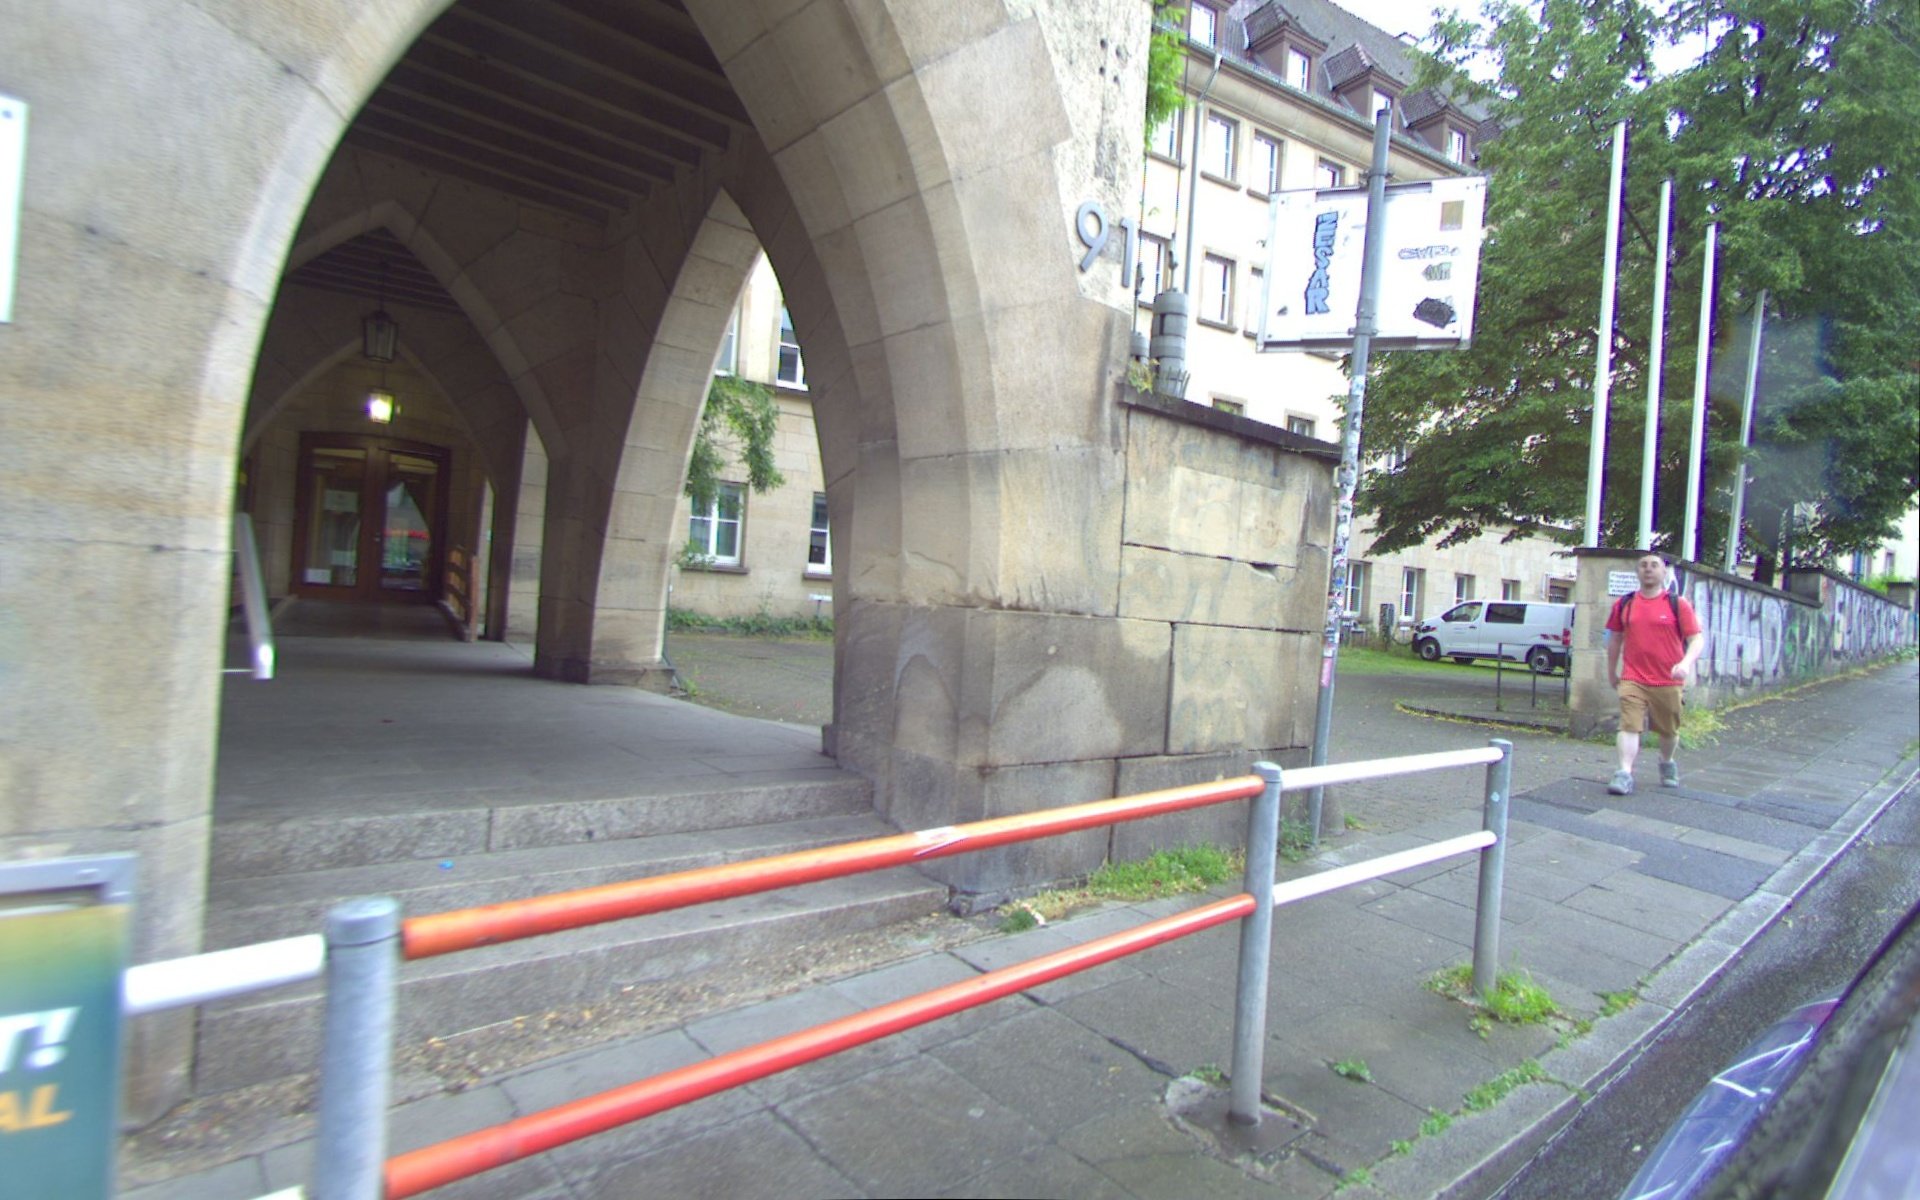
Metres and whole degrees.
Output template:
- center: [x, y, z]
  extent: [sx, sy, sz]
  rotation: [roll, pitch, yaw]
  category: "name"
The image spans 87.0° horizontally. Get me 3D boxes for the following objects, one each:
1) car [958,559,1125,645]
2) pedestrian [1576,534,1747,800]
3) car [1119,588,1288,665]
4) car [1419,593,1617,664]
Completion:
- center: [1.457, 0.029, 19.616]
  extent: [1.579, 1.488, 3.923]
  rotation: [0, 0, -23]
  category: "car"
- center: [5.135, 0.444, 7.414]
  extent: [0.804, 1.785, 0.748]
  rotation: [1, 3, -41]
  category: "pedestrian"
- center: [5.263, 0.526, 22.412]
  extent: [1.784, 1.527, 3.930]
  rotation: [0, 0, -19]
  category: "car"
- center: [15.308, 0.725, 28.032]
  extent: [1.786, 1.802, 4.538]
  rotation: [0, 0, -29]
  category: "car"
